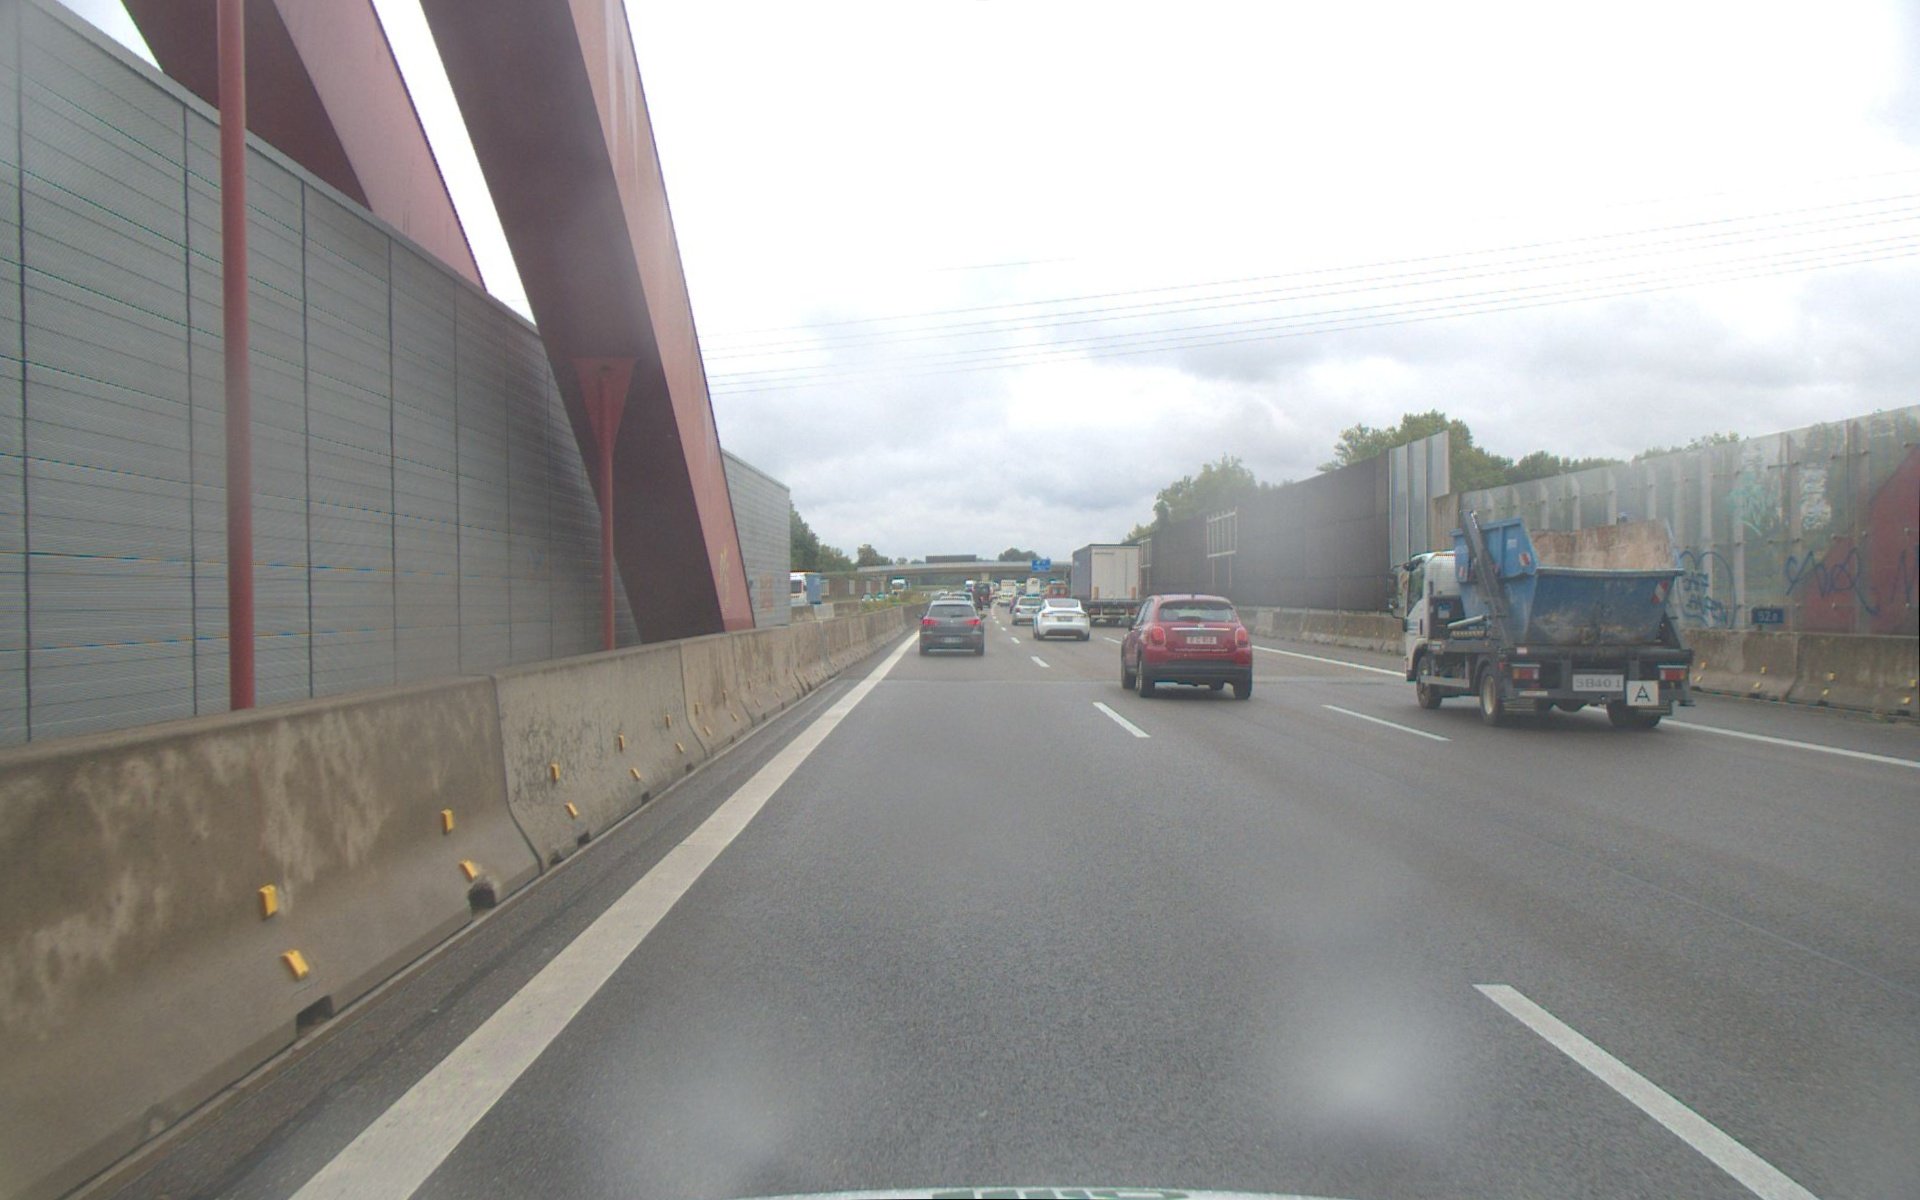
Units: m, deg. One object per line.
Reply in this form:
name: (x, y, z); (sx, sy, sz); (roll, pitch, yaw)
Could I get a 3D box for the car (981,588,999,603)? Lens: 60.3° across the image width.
car: (3.223, -0.482, 179.342); (1.952, 1.652, 4.000); (0, 0, 1)

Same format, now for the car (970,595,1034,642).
car: (1.448, 0.622, 57.927); (1.954, 1.545, 3.998); (0, 0, -3)

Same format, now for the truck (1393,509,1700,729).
truck: (7.668, 0.203, 22.437); (2.312, 2.550, 6.147); (0, 0, 3)

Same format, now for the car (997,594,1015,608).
car: (5.347, 0.083, 191.502); (1.953, 1.545, 4.000); (0, 0, 0)

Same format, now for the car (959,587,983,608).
car: (0.988, -0.269, 150.546); (1.953, 1.847, 3.999); (0, 0, -2)

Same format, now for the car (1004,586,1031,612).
car: (4.756, -0.073, 136.197); (1.953, 2.049, 3.999); (1, 0, -2)

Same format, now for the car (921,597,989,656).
car: (-0.163, 0.683, 44.363); (1.728, 1.478, 3.999); (0, 0, -1)

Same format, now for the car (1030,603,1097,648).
car: (3.593, 0.863, 57.992); (1.953, 1.512, 3.998); (0, 0, -2)

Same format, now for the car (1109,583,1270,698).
car: (3.649, 0.596, 27.004); (1.918, 1.676, 3.999); (0, 1, -2)

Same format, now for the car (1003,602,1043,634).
car: (3.242, 0.913, 85.531); (1.668, 1.570, 3.836); (0, 0, -4)

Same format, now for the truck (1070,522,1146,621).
truck: (7.475, -1.398, 84.521); (2.983, 4.817, 7.677); (1, 0, -1)

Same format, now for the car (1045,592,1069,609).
car: (8.963, 0.062, 152.541); (1.953, 1.545, 4.000); (0, 0, 0)

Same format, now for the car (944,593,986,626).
car: (0.185, 0.399, 74.163); (1.746, 1.431, 3.625); (0, 0, -2)
